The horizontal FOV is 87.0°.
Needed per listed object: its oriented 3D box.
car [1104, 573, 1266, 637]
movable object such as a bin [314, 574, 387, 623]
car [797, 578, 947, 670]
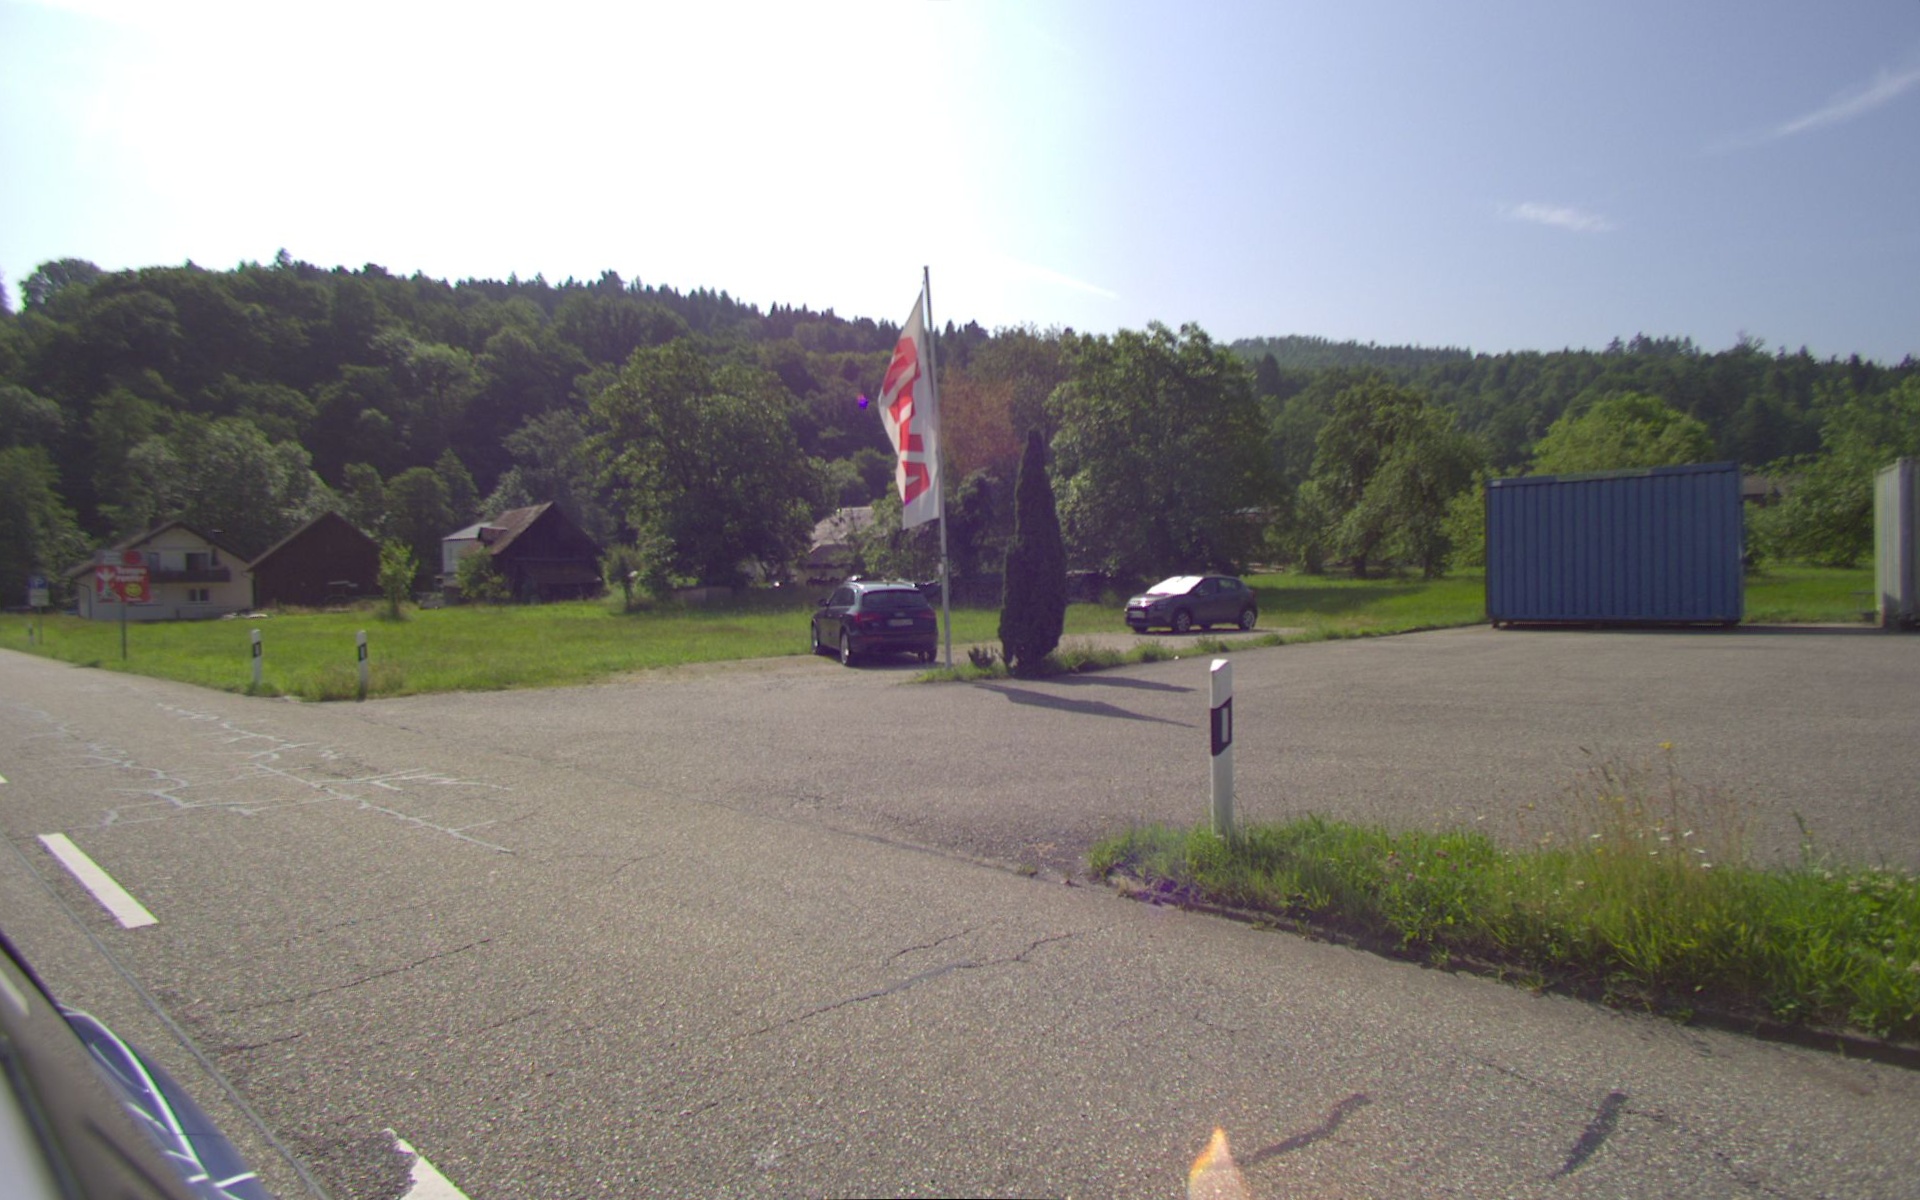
[{"bbox_3d":[5.983,0.106,26.847,3.866,1.496,1.923,-3,1,-30],"label":"car"},{"bbox_3d":[-42.304,-0.132,70.244,4.123,3.161,2.208,-3,1,-35],"label":"movable object such as a bin"},{"bbox_3d":[-2.015,0.440,21.490,1.804,1.661,4.924,-2,1,-21],"label":"car"}]
